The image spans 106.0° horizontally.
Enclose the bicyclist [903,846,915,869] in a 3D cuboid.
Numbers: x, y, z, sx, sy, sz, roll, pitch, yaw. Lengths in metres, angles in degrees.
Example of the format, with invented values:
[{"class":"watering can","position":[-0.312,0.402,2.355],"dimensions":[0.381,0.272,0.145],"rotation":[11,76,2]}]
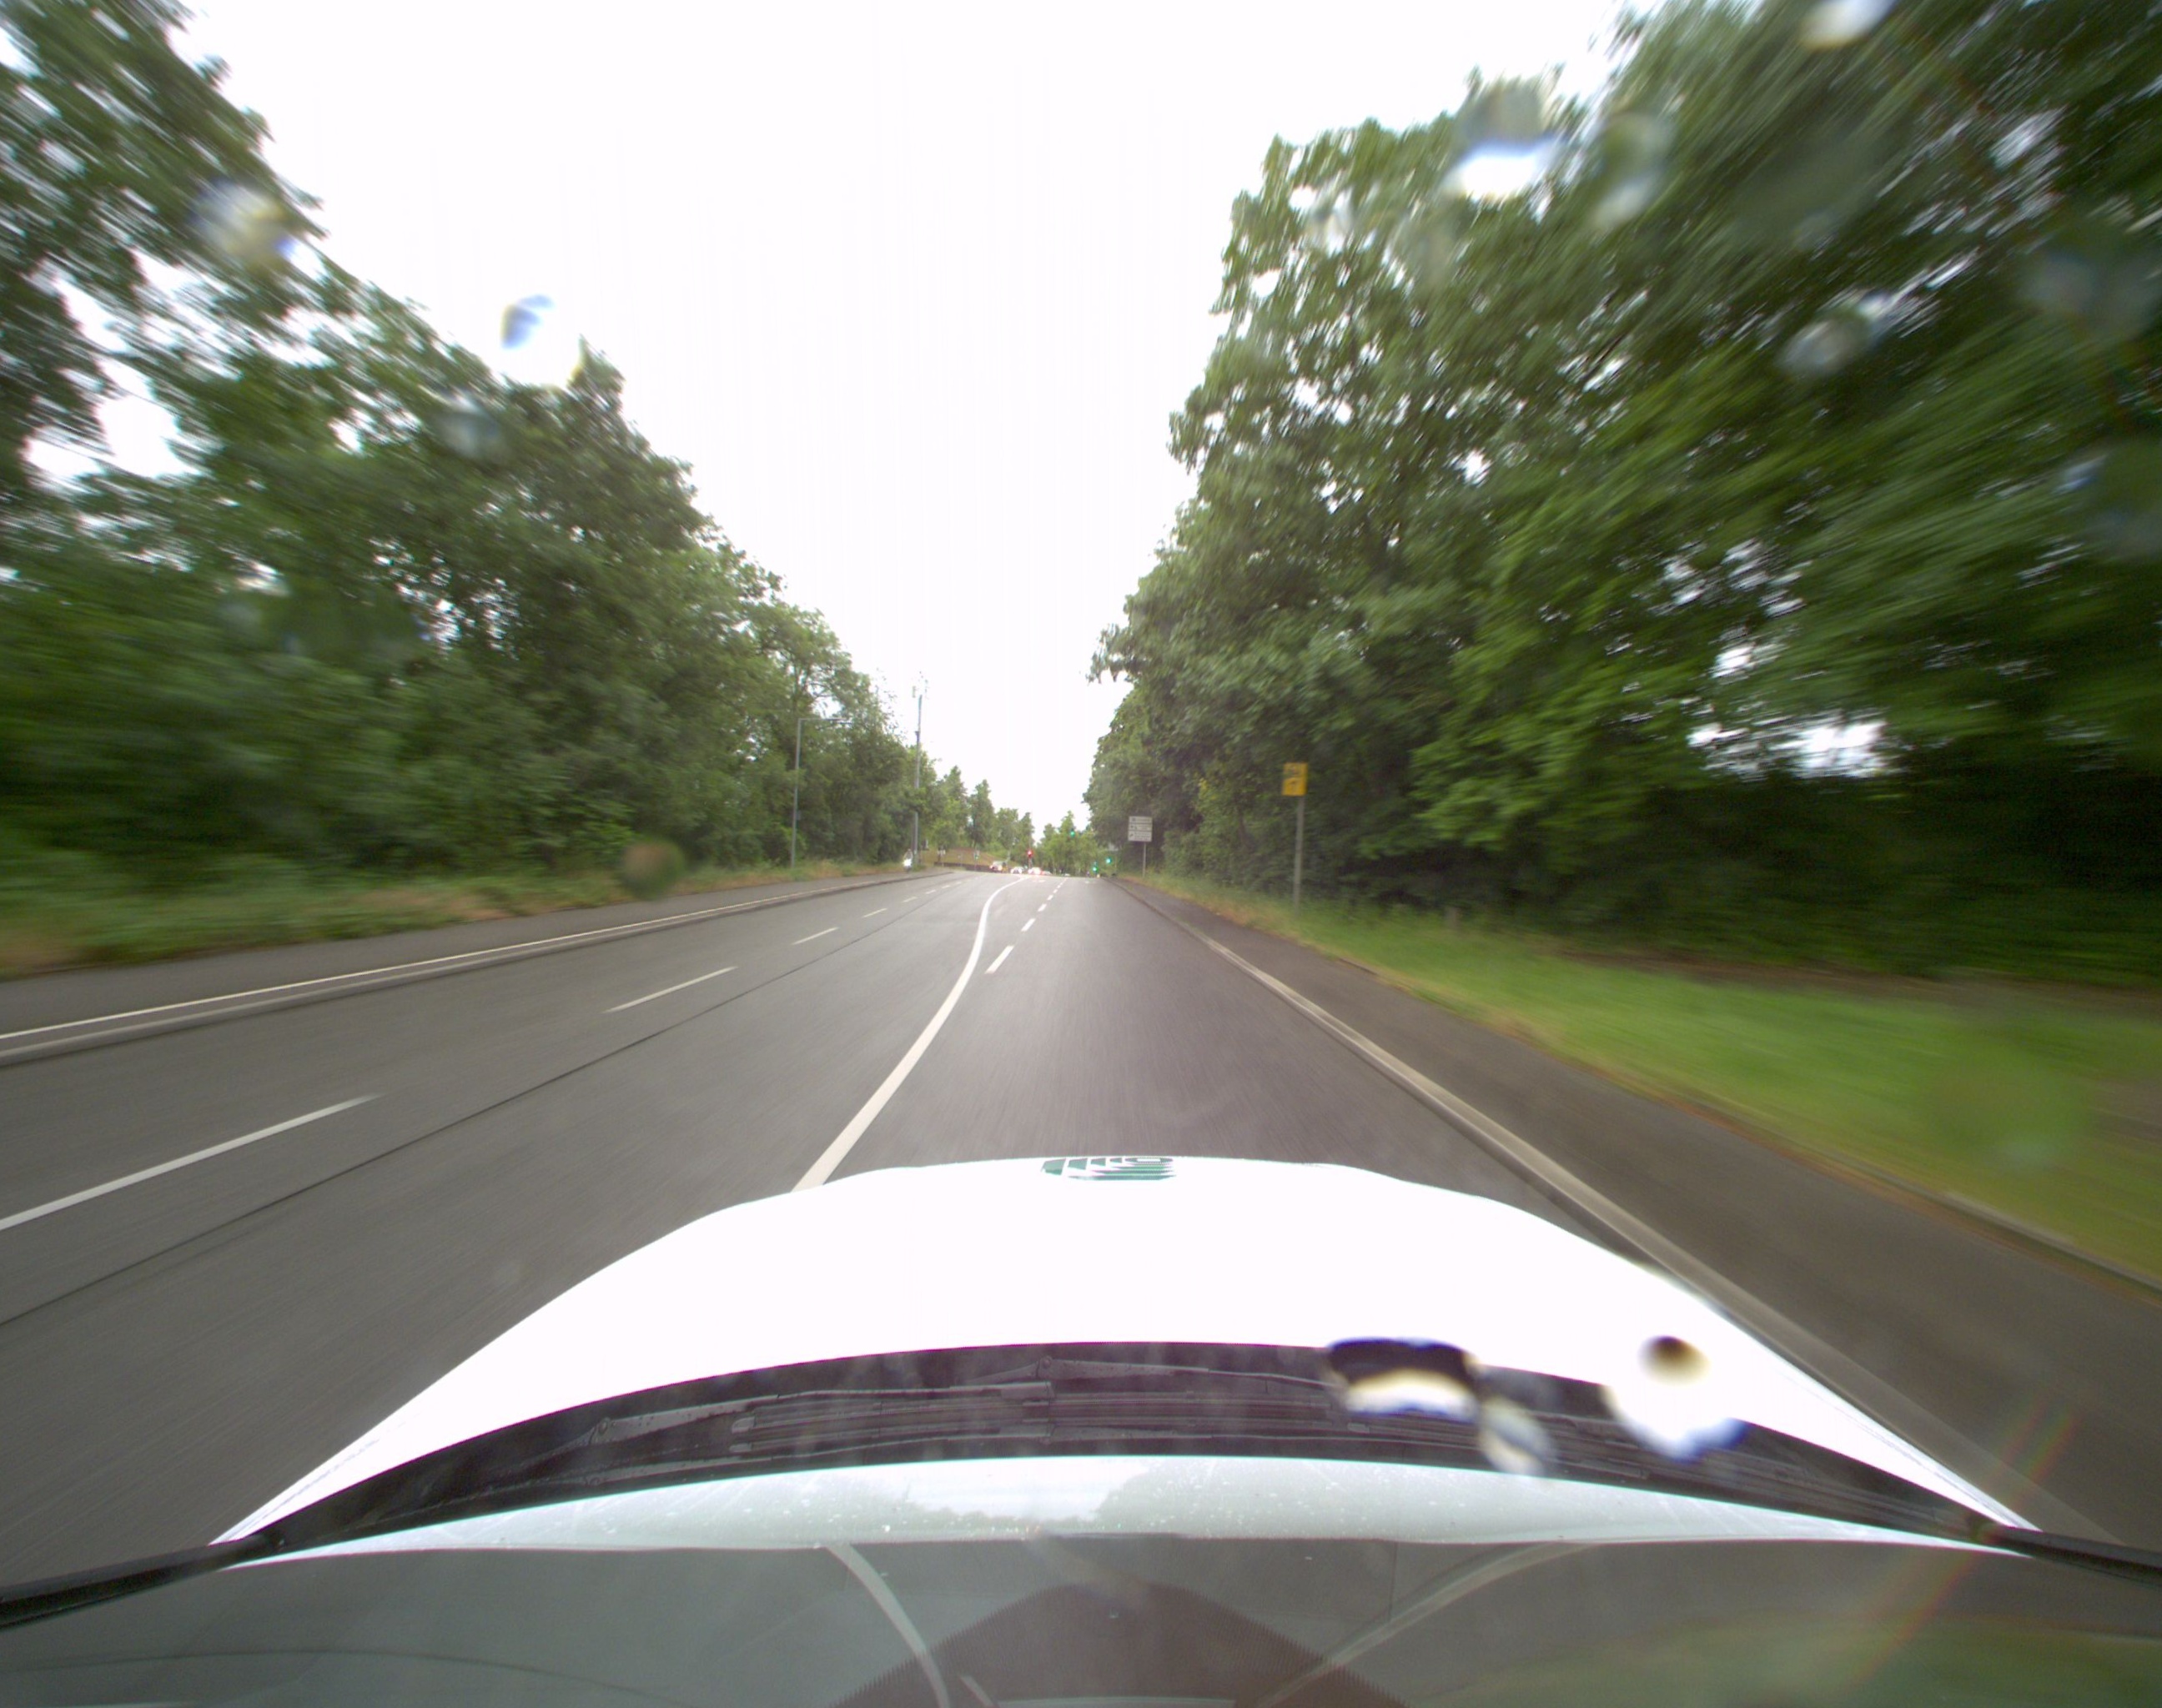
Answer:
[{"class":"bicyclist","position":[-12.493,0.236,59.181],"dimensions":[0.703,1.644,0.950],"rotation":[0,0,-4]}]

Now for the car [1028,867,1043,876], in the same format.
[{"class":"car","position":[-7.614,2.959,136.871],"dimensions":[1.887,1.354,4.007],"rotation":[0,-2,7]}]

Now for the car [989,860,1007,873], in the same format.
[{"class":"car","position":[-12.556,1.868,123.375],"dimensions":[1.984,1.849,4.004],"rotation":[0,-2,5]}]

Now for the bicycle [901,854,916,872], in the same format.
[{"class":"bicycle","position":[-12.503,0.647,59.159],"dimensions":[0.703,1.242,2.161],"rotation":[0,0,-3]}]

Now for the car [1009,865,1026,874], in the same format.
[{"class":"car","position":[-10.806,2.673,138.916],"dimensions":[1.885,1.551,4.011],"rotation":[-1,-2,11]}]
